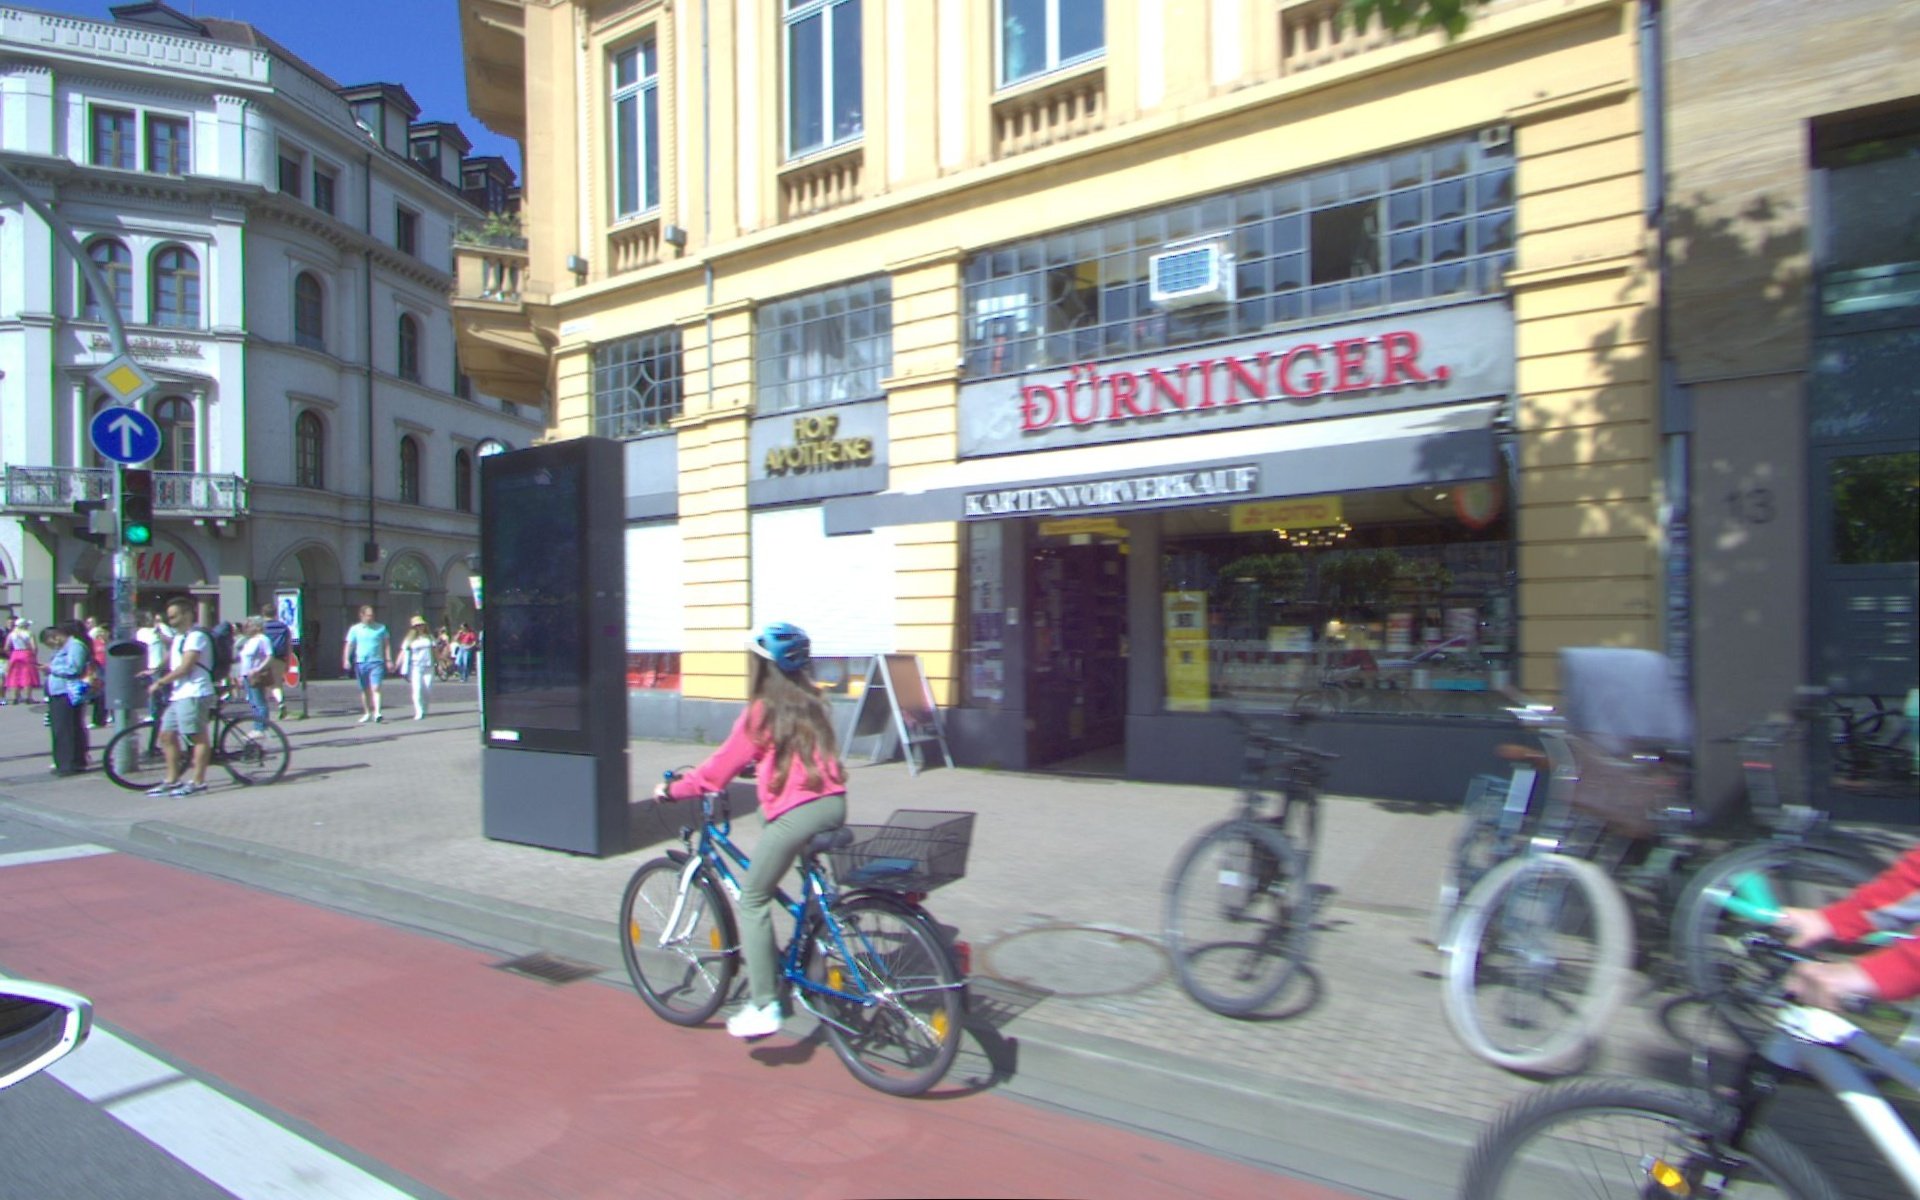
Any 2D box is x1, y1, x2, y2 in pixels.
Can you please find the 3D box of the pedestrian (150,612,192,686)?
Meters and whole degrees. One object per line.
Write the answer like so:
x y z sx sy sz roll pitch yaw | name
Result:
-19.446 1.197 24.673 0.668 1.786 0.609 -1 -1 30 | pedestrian

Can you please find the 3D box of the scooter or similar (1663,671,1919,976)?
3.765 0.913 4.244 1.208 1.193 0.422 0 -1 12 | scooter or similar

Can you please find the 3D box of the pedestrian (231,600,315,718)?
-10.935 0.943 15.936 1.216 1.812 0.656 -3 -2 32 | pedestrian

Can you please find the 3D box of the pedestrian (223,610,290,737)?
-9.561 0.981 13.611 0.581 1.661 0.547 -1 0 35 | pedestrian

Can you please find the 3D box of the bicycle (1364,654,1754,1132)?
2.072 0.866 3.798 0.692 1.273 1.938 0 -2 13 | bicycle

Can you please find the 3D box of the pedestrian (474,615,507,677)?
-13.763 1.354 29.356 0.664 1.792 0.542 1 -1 2 | pedestrian

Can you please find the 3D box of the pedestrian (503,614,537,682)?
-12.366 1.343 28.177 0.664 1.893 0.542 1 -1 2 | pedestrian

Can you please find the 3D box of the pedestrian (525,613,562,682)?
-11.557 1.308 27.783 0.668 1.893 0.660 1 -1 7 | pedestrian

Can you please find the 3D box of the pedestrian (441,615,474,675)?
-14.695 1.316 29.294 0.664 1.738 0.542 1 -1 2 | pedestrian

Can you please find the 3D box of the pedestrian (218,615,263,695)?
-15.831 1.208 22.036 0.667 1.738 0.540 -1 -2 28 | pedestrian

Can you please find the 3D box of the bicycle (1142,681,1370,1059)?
1.328 0.971 4.245 0.554 1.137 1.780 0 -1 29 | bicycle

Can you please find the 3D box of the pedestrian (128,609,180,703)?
-16.480 1.130 20.484 0.534 1.879 0.675 -1 -1 30 | pedestrian

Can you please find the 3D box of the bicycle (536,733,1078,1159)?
-0.635 1.030 3.511 2.060 0.938 0.598 -1 -1 36 | bicycle

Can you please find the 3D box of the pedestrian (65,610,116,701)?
-17.847 1.128 20.554 0.668 1.830 0.609 -1 -1 30 | pedestrian

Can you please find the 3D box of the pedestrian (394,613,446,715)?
-8.642 1.005 16.041 0.578 1.589 0.550 -1 0 -12 | pedestrian

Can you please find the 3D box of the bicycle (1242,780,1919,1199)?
1.571 0.977 1.621 2.050 1.141 0.698 -1 -2 29 | bicycle

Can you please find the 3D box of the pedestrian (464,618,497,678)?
-14.137 1.419 29.506 0.664 1.738 0.542 1 -1 2 | pedestrian

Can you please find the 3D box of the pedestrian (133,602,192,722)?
-12.577 0.956 15.801 0.632 1.847 0.521 -1 0 32 | pedestrian

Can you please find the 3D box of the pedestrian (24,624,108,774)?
-9.614 1.039 10.768 0.633 1.541 0.521 -1 0 35 | pedestrian

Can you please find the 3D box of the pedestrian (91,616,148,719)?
-13.717 1.087 16.346 0.632 1.630 0.521 -1 0 32 | pedestrian

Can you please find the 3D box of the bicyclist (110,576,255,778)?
-7.237 0.695 9.353 0.840 1.821 0.575 -1 1 -3 | bicyclist

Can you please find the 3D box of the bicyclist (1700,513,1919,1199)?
1.704 0.622 1.559 0.778 1.458 0.698 -1 -2 29 | bicyclist

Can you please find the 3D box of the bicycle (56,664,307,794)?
-7.232 1.186 9.364 1.803 1.097 0.602 -1 1 -3 | bicycle

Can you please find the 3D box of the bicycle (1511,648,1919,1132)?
2.732 0.858 3.743 0.676 1.325 1.826 0 -1 12 | bicycle

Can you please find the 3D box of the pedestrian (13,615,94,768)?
-10.240 1.009 11.315 0.581 1.652 0.547 -1 0 35 | pedestrian

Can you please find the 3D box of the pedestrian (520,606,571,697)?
-8.666 1.060 20.928 0.783 1.847 0.618 -1 0 32 | pedestrian

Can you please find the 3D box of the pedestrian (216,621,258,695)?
-16.461 1.306 22.789 0.668 1.654 0.539 -1 -2 30 | pedestrian

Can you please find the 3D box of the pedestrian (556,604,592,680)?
-9.779 1.072 25.396 0.557 1.893 0.660 1 -1 7 | pedestrian

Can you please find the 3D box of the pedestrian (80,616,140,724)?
-13.165 1.067 15.518 0.632 1.633 0.521 -1 0 32 | pedestrian

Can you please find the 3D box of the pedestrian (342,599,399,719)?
-9.168 0.906 15.584 0.578 1.825 0.550 -1 0 -12 | pedestrian

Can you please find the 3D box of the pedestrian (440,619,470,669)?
-16.643 1.452 33.005 0.557 1.620 0.660 1 -1 7 | pedestrian

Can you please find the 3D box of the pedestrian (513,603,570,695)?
-8.706 1.017 20.853 0.771 1.846 0.808 -2 -2 9 | pedestrian

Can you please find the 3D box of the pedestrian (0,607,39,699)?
-19.626 1.091 20.761 0.668 1.847 0.609 -1 -1 30 | pedestrian

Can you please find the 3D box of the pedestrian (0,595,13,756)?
-11.765 0.906 11.962 0.633 1.923 0.521 -1 0 35 | pedestrian

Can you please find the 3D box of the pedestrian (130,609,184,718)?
-13.013 1.012 16.231 0.528 1.725 0.521 -1 0 32 | pedestrian

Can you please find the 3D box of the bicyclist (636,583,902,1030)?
-0.670 0.645 3.539 0.711 1.375 0.598 0 -1 36 | bicyclist
